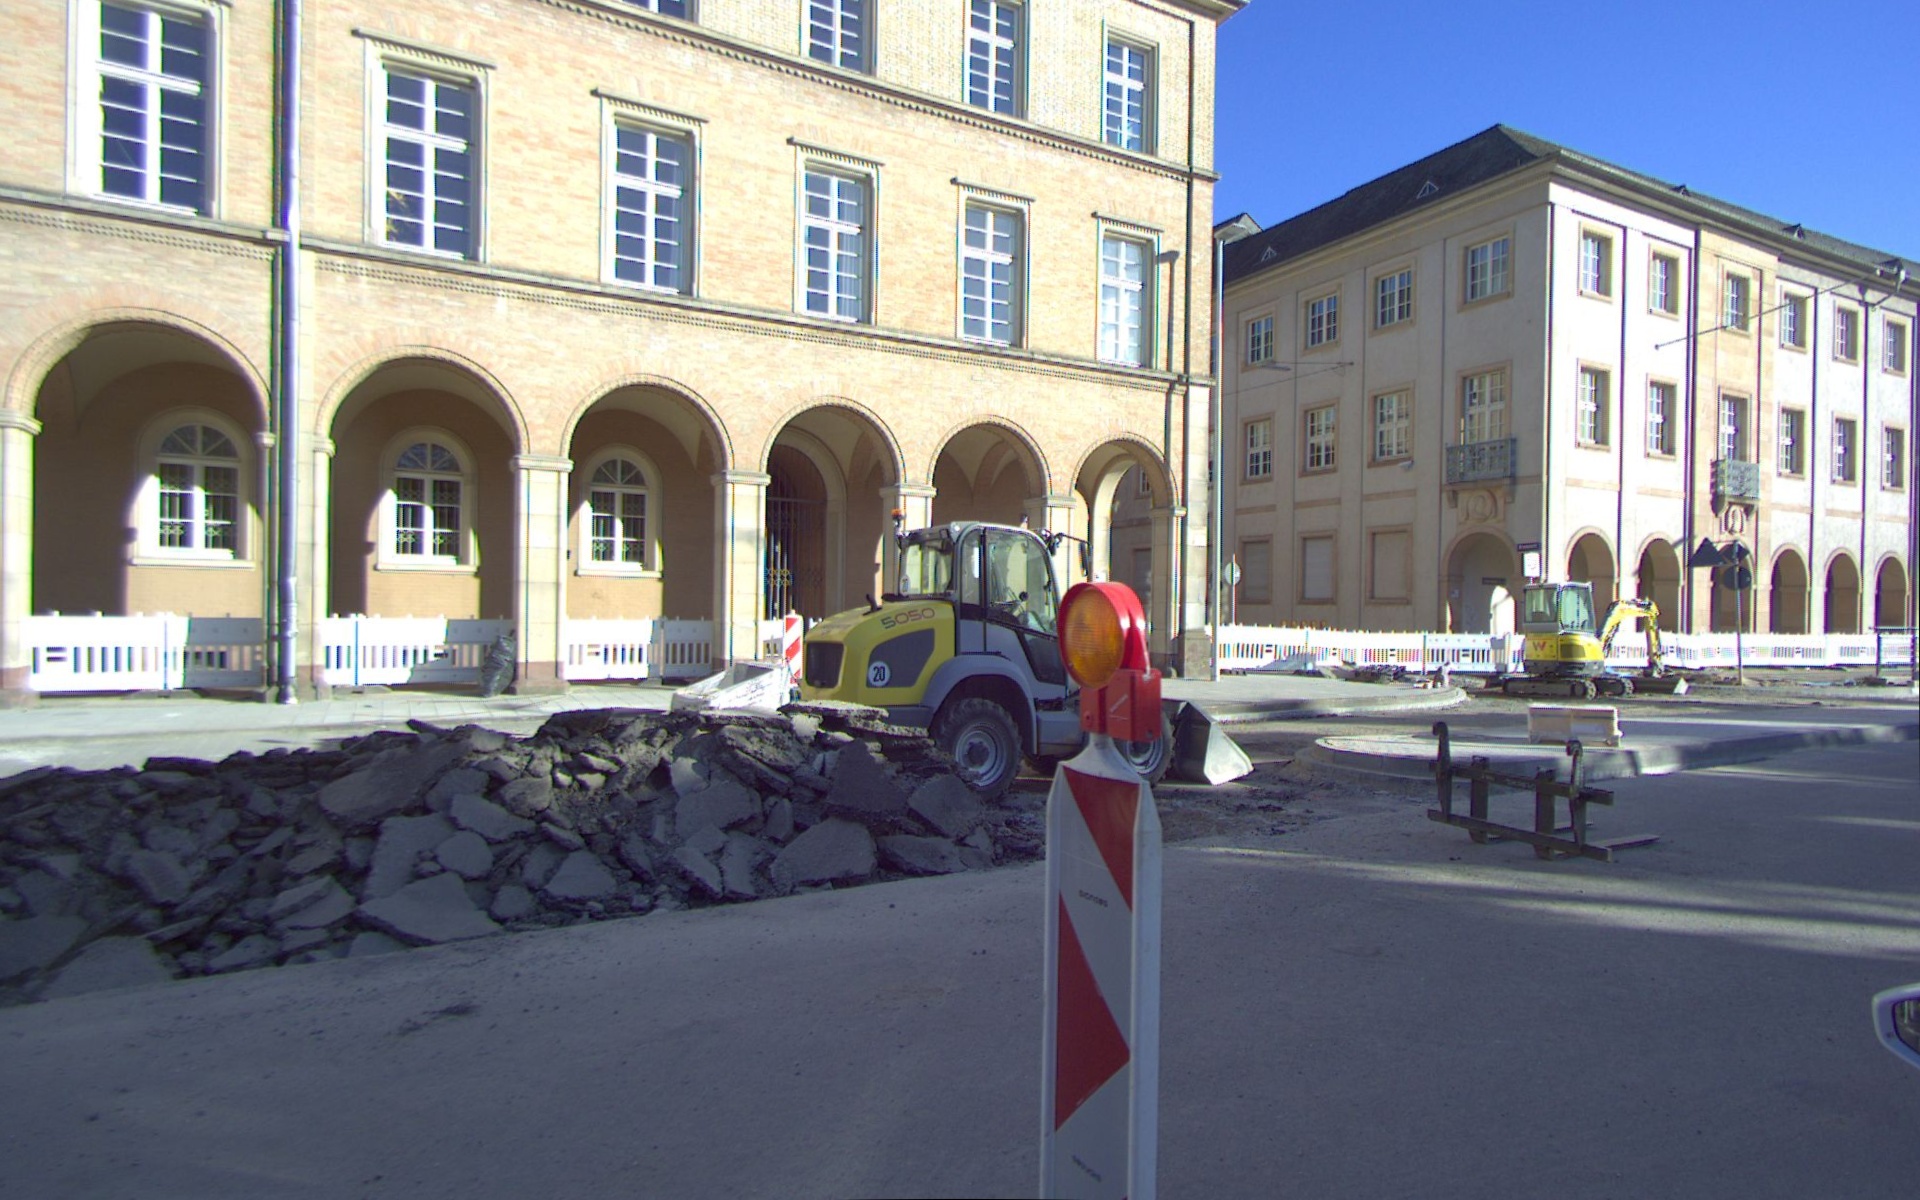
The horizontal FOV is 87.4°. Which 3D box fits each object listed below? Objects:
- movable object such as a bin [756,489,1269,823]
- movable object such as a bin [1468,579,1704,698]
[{"bbox_3d":[0.582,0.420,9.621,4.564,2.508,2.064,0,0,-31],"label":"movable object such as a bin"},{"bbox_3d":[13.879,0.821,22.309,4.401,2.380,2.538,1,-1,-26],"label":"movable object such as a bin"}]
